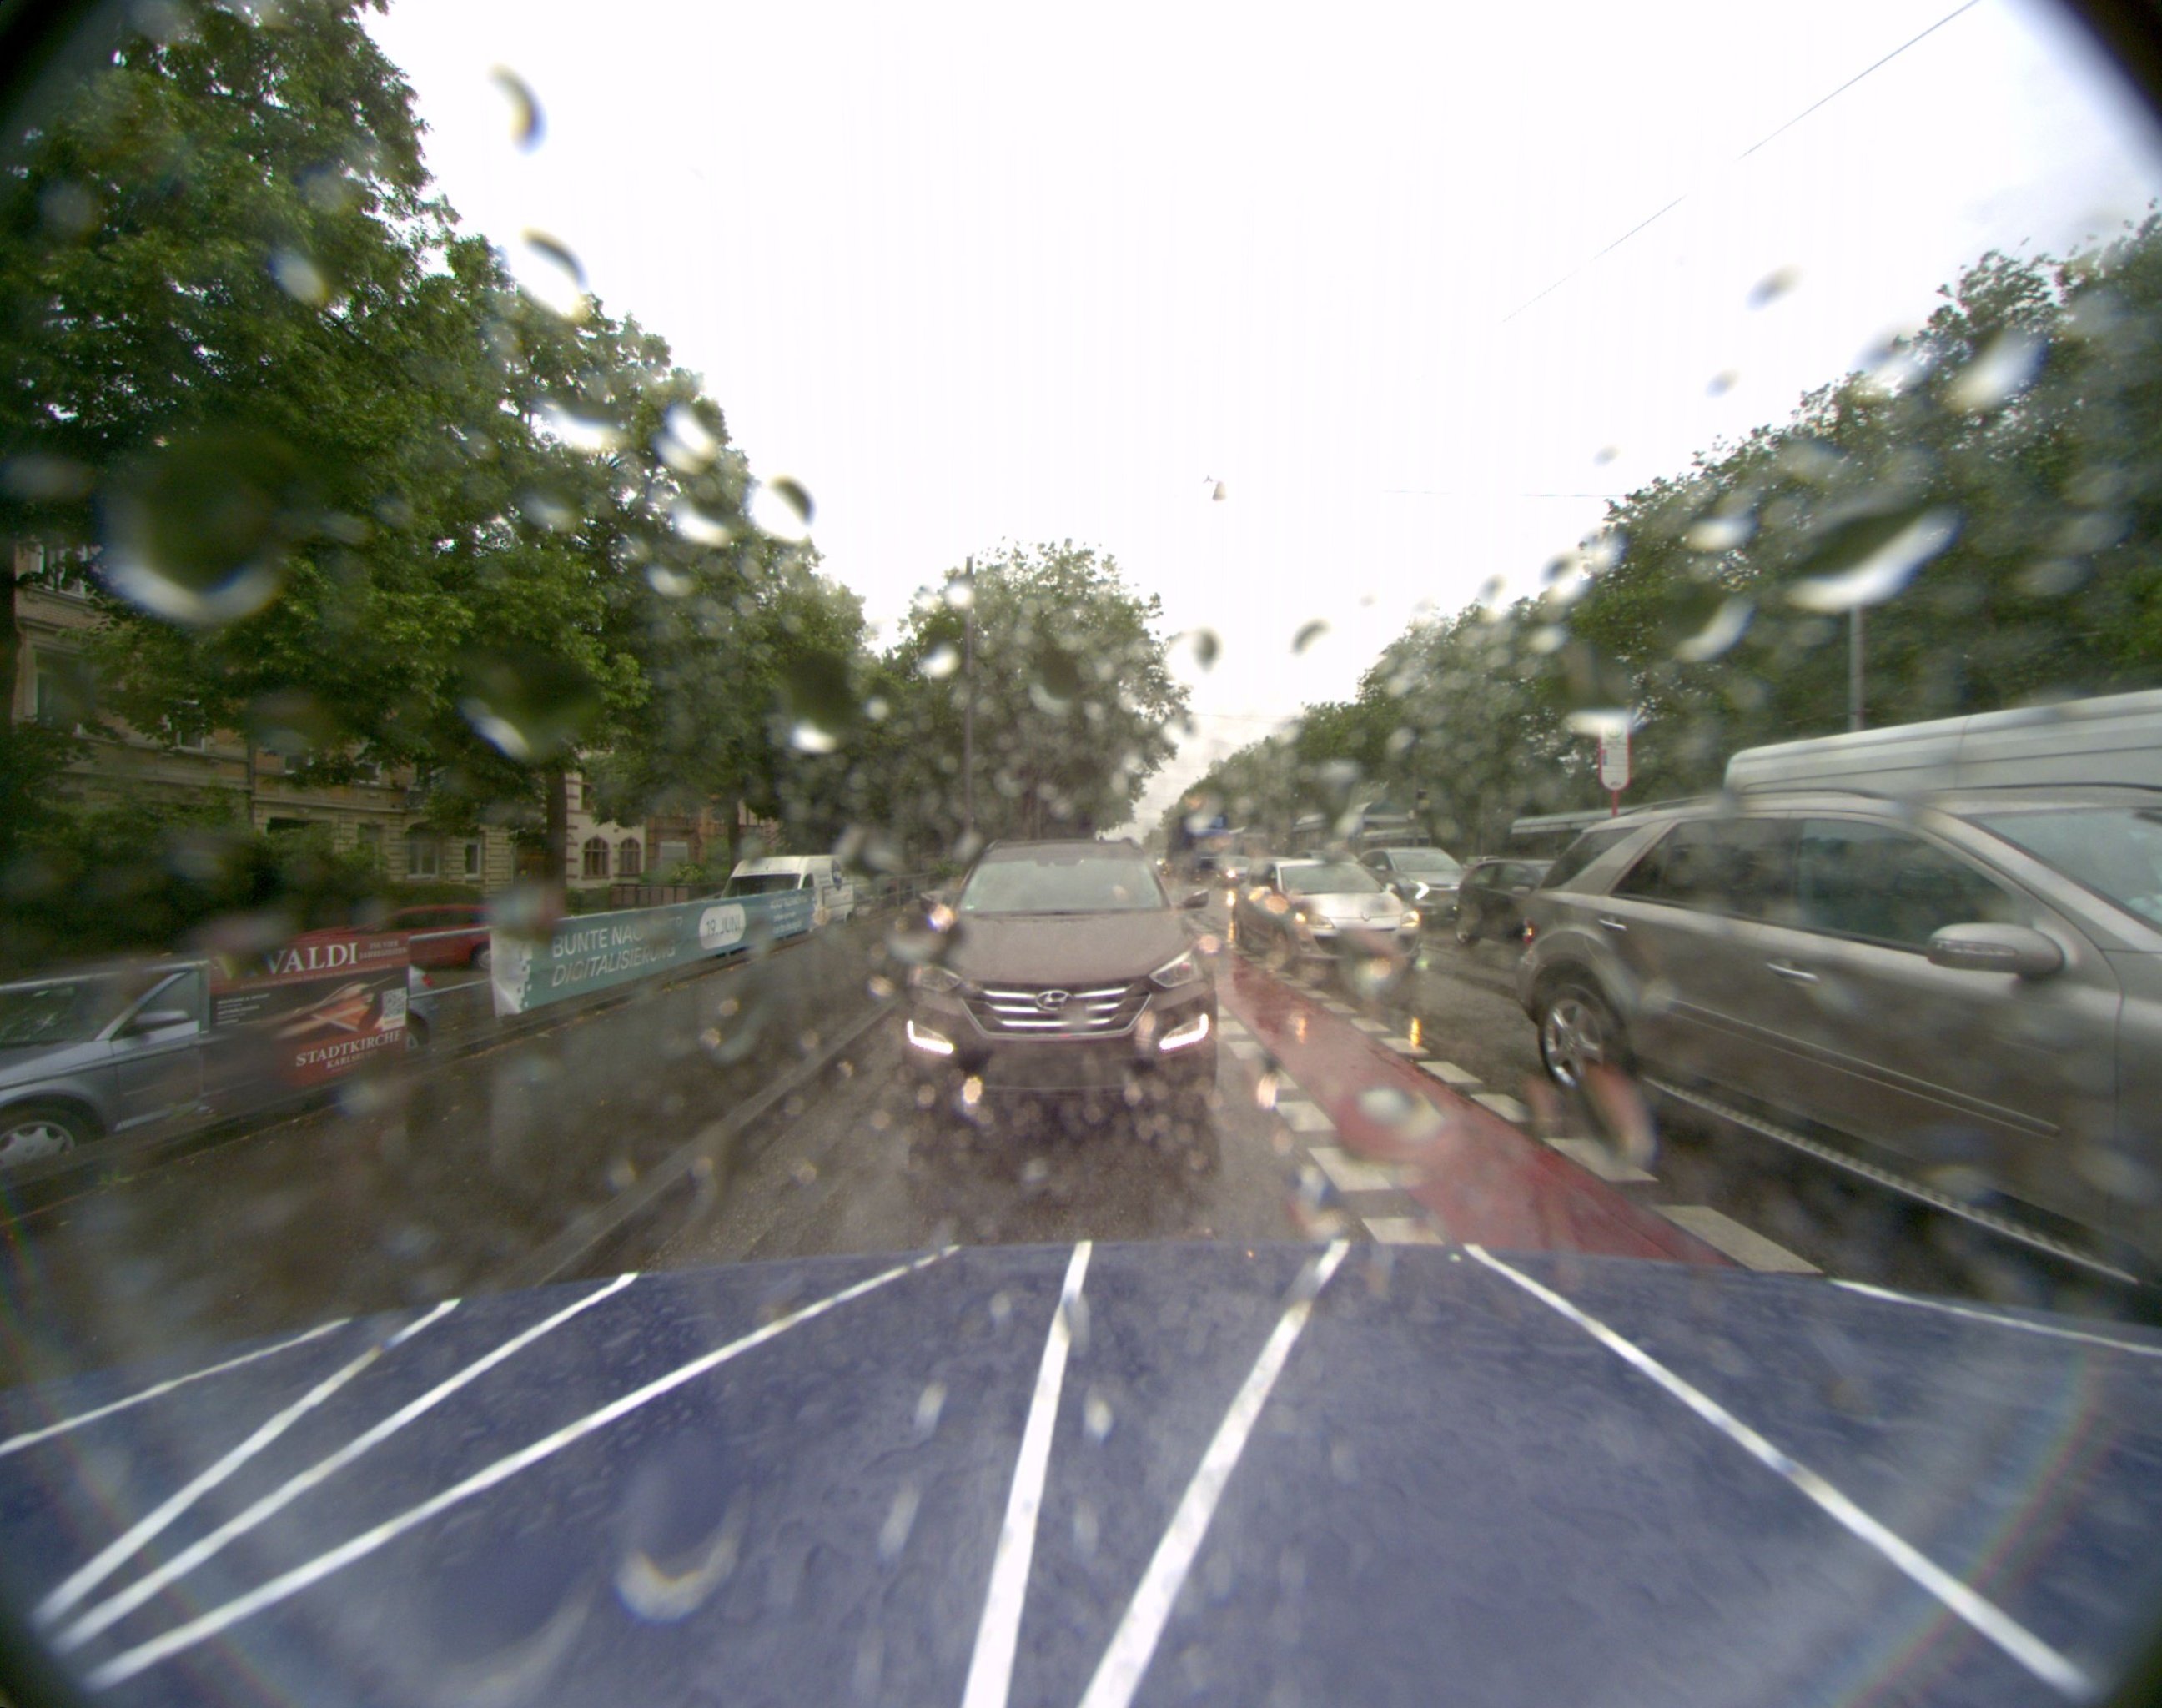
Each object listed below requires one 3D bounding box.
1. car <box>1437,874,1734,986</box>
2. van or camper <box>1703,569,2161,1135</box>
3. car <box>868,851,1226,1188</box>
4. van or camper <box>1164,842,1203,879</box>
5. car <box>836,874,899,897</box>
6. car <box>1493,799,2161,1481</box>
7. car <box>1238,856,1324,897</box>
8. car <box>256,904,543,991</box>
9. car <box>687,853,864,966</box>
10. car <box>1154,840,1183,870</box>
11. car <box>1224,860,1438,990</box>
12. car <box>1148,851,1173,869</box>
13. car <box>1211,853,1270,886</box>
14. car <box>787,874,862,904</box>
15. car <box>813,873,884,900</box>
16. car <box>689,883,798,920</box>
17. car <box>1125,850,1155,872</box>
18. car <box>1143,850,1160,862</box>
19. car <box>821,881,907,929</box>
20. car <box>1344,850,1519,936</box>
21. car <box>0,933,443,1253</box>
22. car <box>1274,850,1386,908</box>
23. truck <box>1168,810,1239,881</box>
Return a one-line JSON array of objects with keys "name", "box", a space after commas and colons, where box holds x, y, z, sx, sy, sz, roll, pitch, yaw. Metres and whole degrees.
[{"name": "car", "box": [6.740, 0.930, 10.754, 1.467, 1.111, 4.087, -2, 0, 0]}, {"name": "van or camper", "box": [7.045, -0.014, 4.316, 2.164, 3.123, 5.850, 0, 0, -1]}, {"name": "car", "box": [-0.107, 0.833, 5.660, 1.756, 1.657, 3.678, -2, 0, 2]}, {"name": "van or camper", "box": [7.634, 0.438, 57.099, 1.998, 2.555, 6.431, -2, 0, 0]}, {"name": "car", "box": [-15.542, 2.249, 55.343, 4.007, 1.455, 1.908, -2, 1, -34]}, {"name": "car", "box": [3.777, 0.705, 2.825, 2.030, 1.760, 4.462, -2, 0, 0]}, {"name": "car", "box": [7.522, 0.792, 29.046, 1.999, 1.386, 4.606, 0, 0, -1]}, {"name": "car", "box": [-14.629, 1.943, 16.727, 4.439, 1.444, 1.894, 0, -1, -32]}, {"name": "car", "box": [-7.708, 1.245, 20.082, 2.214, 2.406, 6.157, -3, 0, -2]}, {"name": "car", "box": [7.509, 0.089, 65.939, 1.998, 2.412, 5.727, -2, 0, 3]}, {"name": "car", "box": [3.385, 0.868, 11.129, 1.772, 1.469, 4.000, -2, 0, 0]}, {"name": "car", "box": [7.613, 0.569, 73.313, 1.998, 1.568, 4.000, -2, 0, 1]}, {"name": "car", "box": [7.579, 0.708, 36.566, 1.895, 1.478, 4.077, -1, 0, -1]}, {"name": "car", "box": [-15.725, 2.131, 46.651, 4.006, 1.599, 1.821, -2, 1, -31]}, {"name": "car", "box": [-15.366, 2.132, 50.304, 4.007, 1.557, 1.995, -2, 1, -34]}, {"name": "car", "box": [-14.862, 2.059, 33.487, 4.269, 1.372, 1.687, -1, 1, -27]}, {"name": "car", "box": [4.472, 0.520, 58.045, 1.899, 1.569, 3.999, 0, 0, 0]}, {"name": "car", "box": [7.360, 0.238, 79.622, 1.467, 1.185, 3.615, -2, 0, 0]}, {"name": "car", "box": [-7.683, 1.769, 27.335, 1.972, 1.345, 4.383, -3, 0, -3]}, {"name": "car", "box": [7.427, 0.731, 16.675, 1.919, 1.614, 4.454, 0, 0, 2]}, {"name": "car", "box": [-7.237, 1.595, 5.527, 1.736, 1.530, 4.074, -2, 0, -1]}, {"name": "car", "box": [7.564, 0.689, 23.568, 1.999, 1.611, 4.319, -1, 0, -1]}, {"name": "truck", "box": [7.264, -0.482, 46.433, 2.545, 3.866, 9.810, 1, 0, -1]}]
